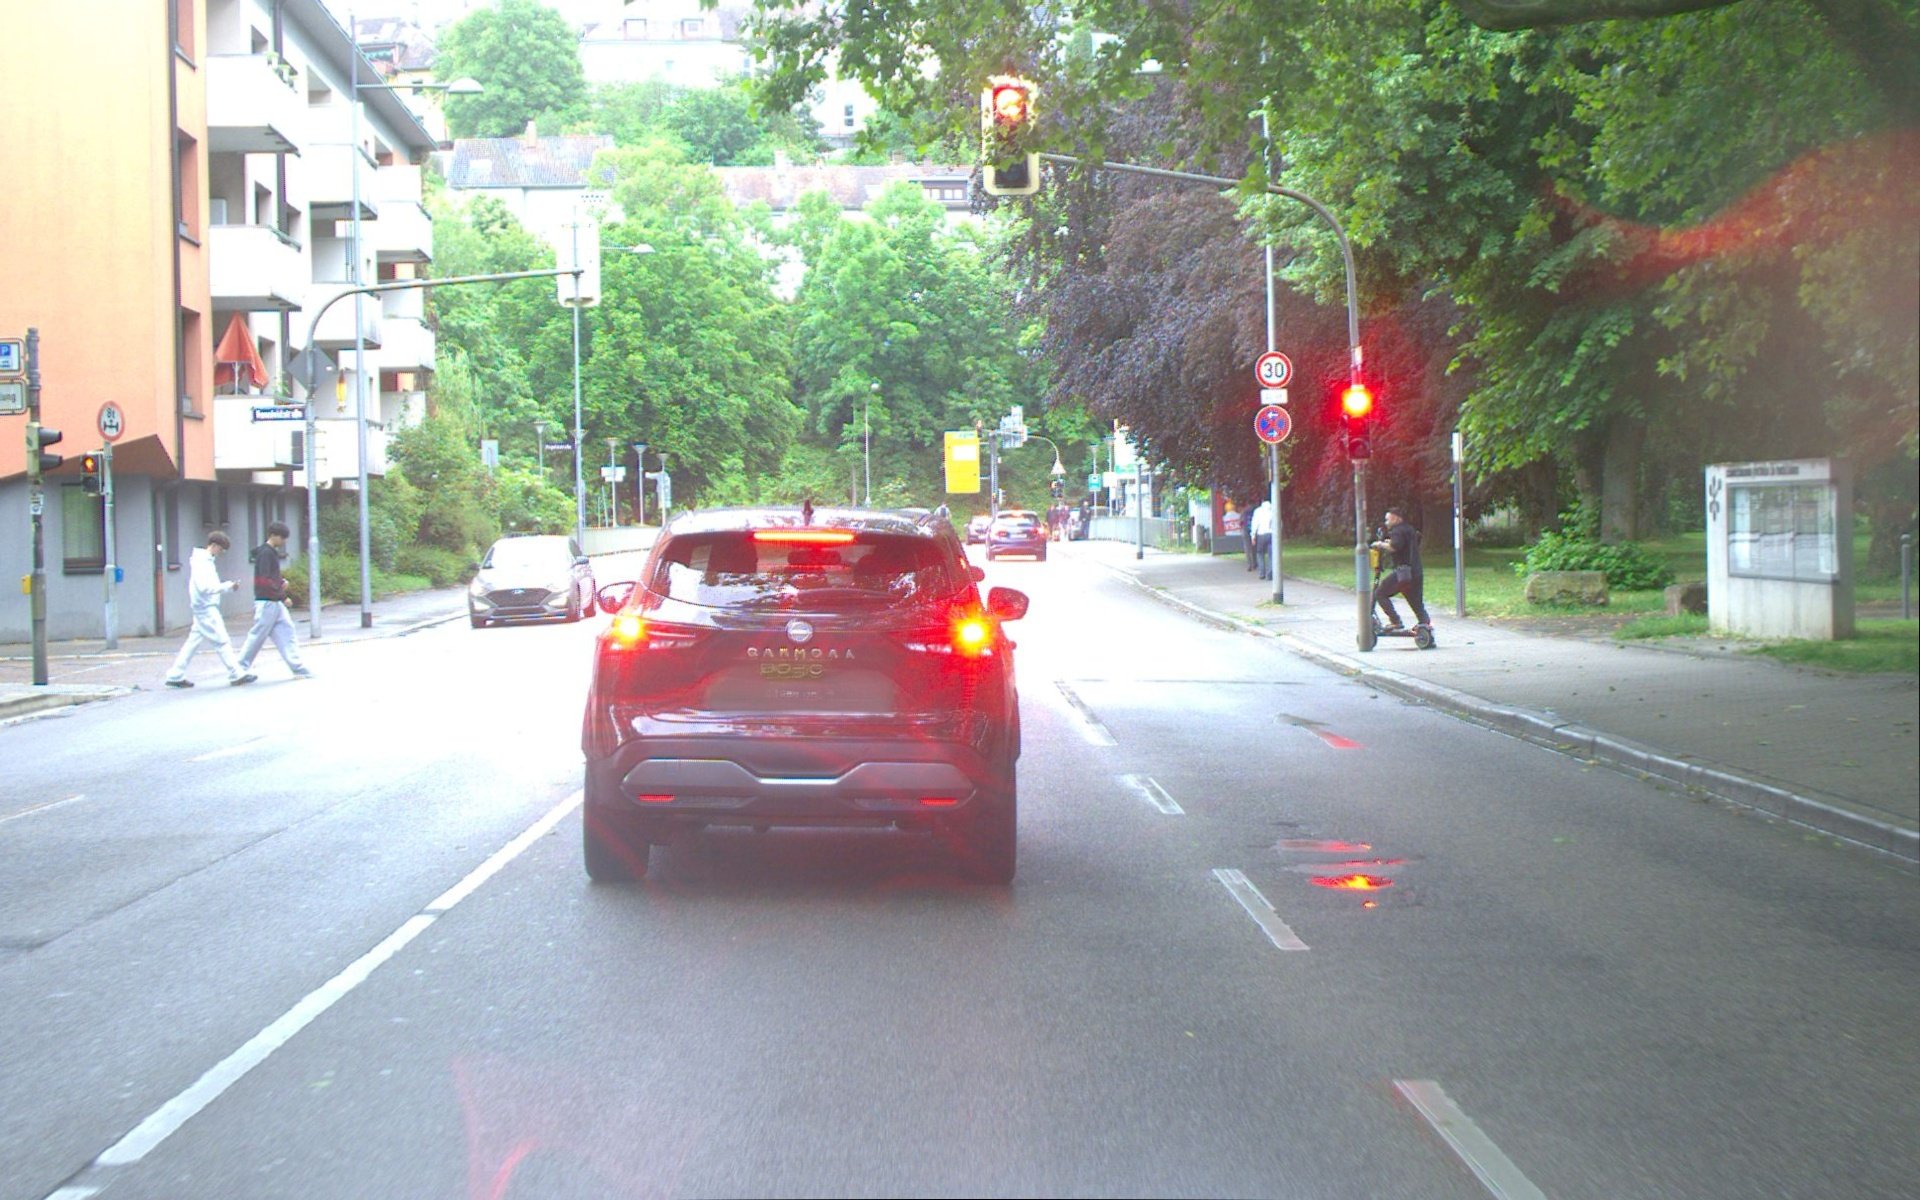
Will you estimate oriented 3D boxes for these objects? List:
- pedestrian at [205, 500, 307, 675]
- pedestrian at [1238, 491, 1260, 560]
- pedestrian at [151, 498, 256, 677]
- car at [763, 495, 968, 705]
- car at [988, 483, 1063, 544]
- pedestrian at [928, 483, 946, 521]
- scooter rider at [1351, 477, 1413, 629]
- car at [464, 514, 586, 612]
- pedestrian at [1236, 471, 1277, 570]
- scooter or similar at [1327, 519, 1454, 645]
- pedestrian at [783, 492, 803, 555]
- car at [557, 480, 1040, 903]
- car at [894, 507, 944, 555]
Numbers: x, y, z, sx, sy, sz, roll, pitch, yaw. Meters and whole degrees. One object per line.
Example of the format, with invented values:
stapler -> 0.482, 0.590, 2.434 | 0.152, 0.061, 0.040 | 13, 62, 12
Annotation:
pedestrian -> -7.715, -0.145, 37.685 | 1.035, 1.869, 0.658 | -2, 1, -12
pedestrian -> 6.311, -1.630, 75.197 | 0.390, 1.497, 0.559 | -1, 1, -1
pedestrian -> -8.115, -0.142, 36.928 | 1.035, 1.869, 0.658 | -2, 1, -12
car -> -0.829, -0.049, 31.066 | 1.698, 1.739, 3.641 | -2, 2, -1
car -> 1.994, -2.588, 103.272 | 1.994, 1.729, 4.000 | 2, 1, 4
pedestrian -> -1.016, -4.336, 151.759 | 0.509, 1.667, 0.658 | -1, 2, 27
scooter rider -> 4.945, -0.542, 40.250 | 0.643, 1.760, 0.735 | -1, 0, 12
car -> -7.235, -0.641, 57.472 | 1.795, 1.528, 3.868 | -2, 1, -4
pedestrian -> 6.124, -1.642, 71.027 | 0.725, 2.007, 0.851 | -1, 1, -1
scooter or similar -> 5.040, -0.206, 40.225 | 1.394, 1.441, 0.816 | -1, 0, 12
pedestrian -> -4.737, -2.175, 97.639 | 0.508, 1.795, 0.619 | -2, 1, -1
car -> -0.671, 0.315, 15.749 | 1.913, 1.674, 4.000 | 1, 1, -1
car -> -1.385, -2.334, 115.489 | 1.634, 1.527, 3.968 | -2, 2, -1
